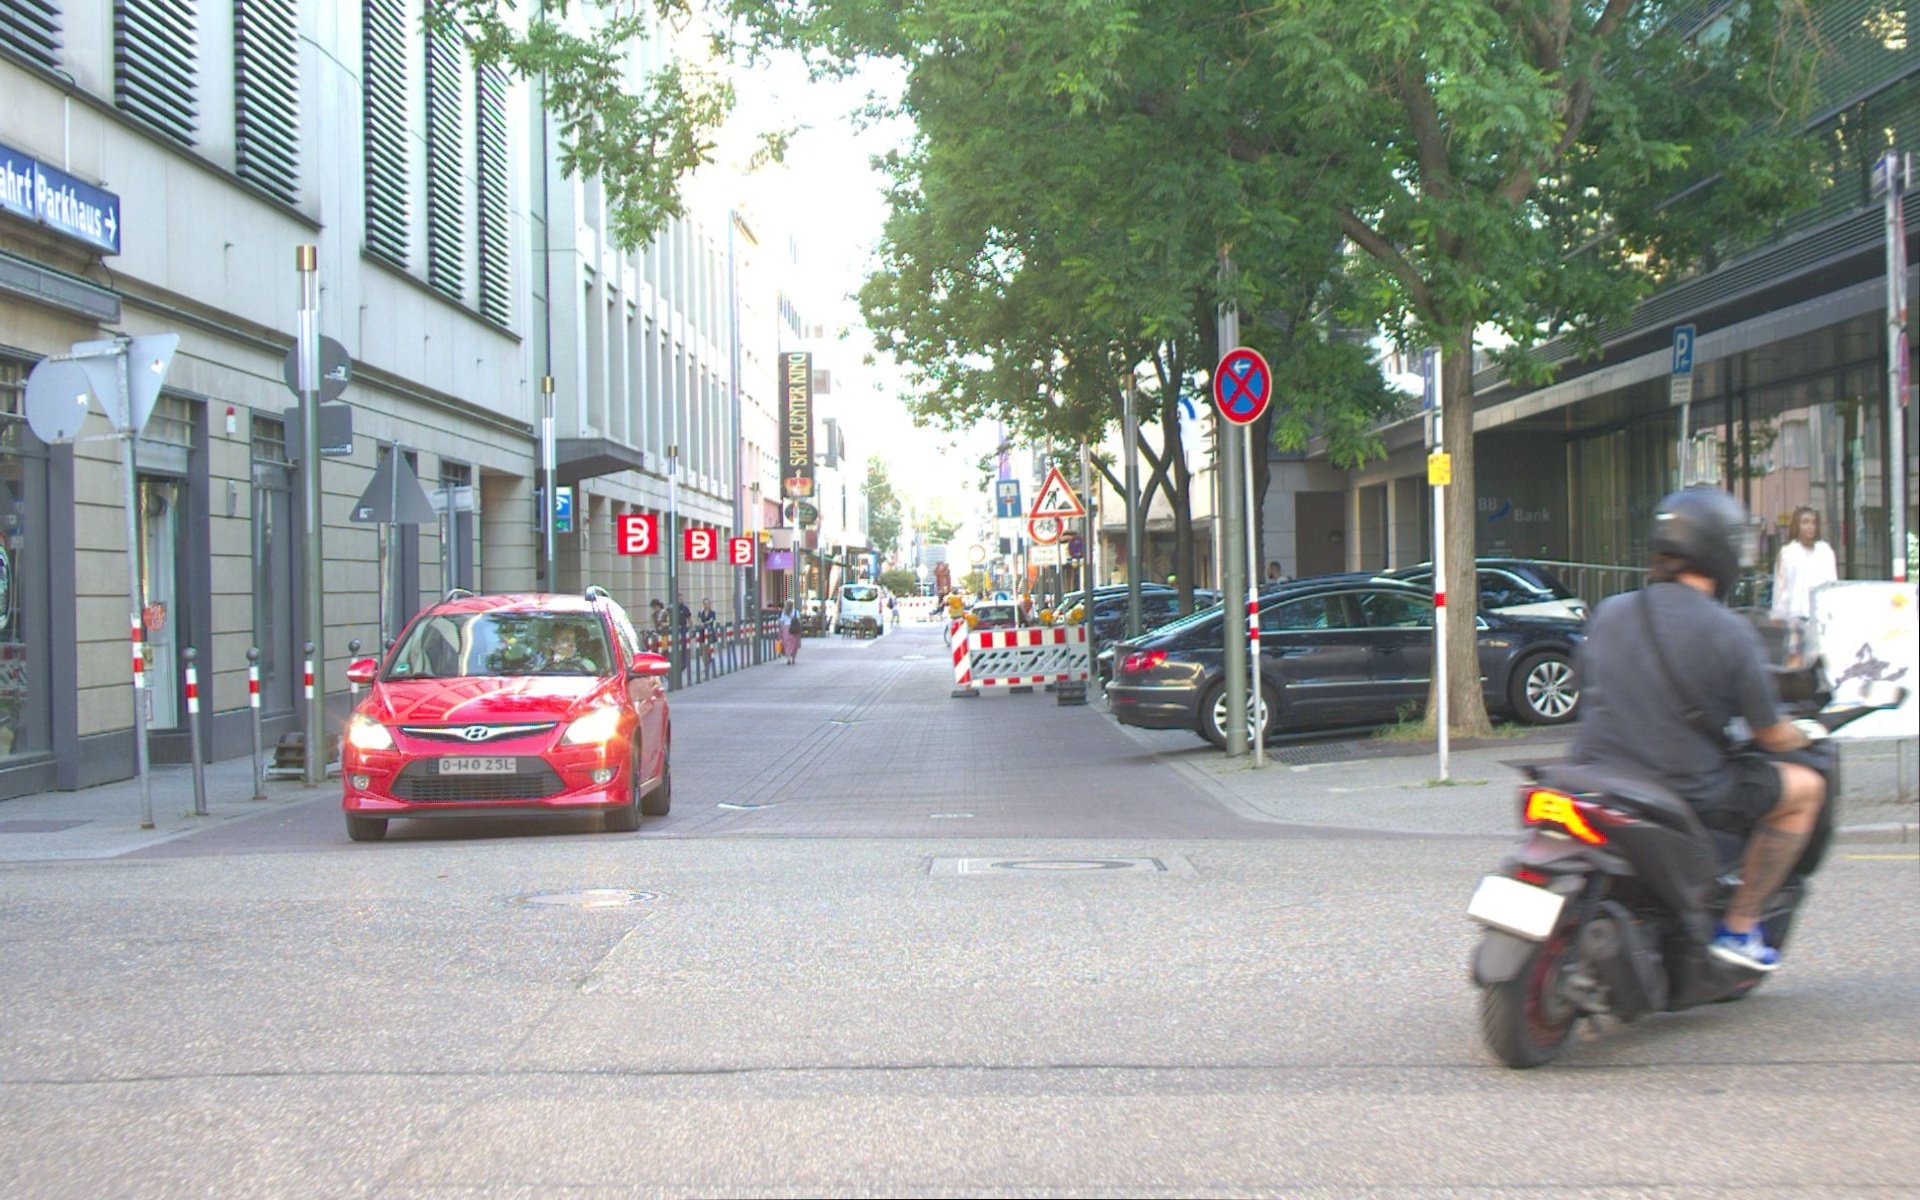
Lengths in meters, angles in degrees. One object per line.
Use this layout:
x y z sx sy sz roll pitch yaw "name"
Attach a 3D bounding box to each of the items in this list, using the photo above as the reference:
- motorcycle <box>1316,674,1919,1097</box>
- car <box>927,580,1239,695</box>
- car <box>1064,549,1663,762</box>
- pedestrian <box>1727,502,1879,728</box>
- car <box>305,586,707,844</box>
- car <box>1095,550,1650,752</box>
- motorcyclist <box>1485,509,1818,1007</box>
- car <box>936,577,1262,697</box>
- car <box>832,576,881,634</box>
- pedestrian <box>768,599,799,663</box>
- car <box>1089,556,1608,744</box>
1.988 0.789 10.201 1.835 1.105 0.875 0 -1 -44 "motorcycle"
2.026 0.623 57.695 5.004 1.494 2.000 -5 0 -2 "car"
3.542 0.488 30.877 5.004 1.447 2.000 -5 0 -2 "car"
6.644 0.123 27.130 0.905 1.700 0.834 -4 -1 2 "pedestrian"
-2.772 0.716 21.915 1.822 1.460 4.263 -1 -2 2 "car"
3.931 0.484 33.374 5.004 1.494 2.000 -5 0 -2 "car"
2.061 0.455 10.287 0.454 1.422 0.869 0 -1 -44 "motorcyclist"
2.189 0.584 55.225 5.004 1.494 2.000 -5 0 -2 "car"
-4.347 0.197 143.461 1.993 2.321 5.021 1 0 -2 "car"
-4.413 0.775 85.880 0.732 1.569 0.636 0 -1 1 "pedestrian"
3.962 0.507 35.682 5.004 1.494 2.000 -5 0 -2 "car"
